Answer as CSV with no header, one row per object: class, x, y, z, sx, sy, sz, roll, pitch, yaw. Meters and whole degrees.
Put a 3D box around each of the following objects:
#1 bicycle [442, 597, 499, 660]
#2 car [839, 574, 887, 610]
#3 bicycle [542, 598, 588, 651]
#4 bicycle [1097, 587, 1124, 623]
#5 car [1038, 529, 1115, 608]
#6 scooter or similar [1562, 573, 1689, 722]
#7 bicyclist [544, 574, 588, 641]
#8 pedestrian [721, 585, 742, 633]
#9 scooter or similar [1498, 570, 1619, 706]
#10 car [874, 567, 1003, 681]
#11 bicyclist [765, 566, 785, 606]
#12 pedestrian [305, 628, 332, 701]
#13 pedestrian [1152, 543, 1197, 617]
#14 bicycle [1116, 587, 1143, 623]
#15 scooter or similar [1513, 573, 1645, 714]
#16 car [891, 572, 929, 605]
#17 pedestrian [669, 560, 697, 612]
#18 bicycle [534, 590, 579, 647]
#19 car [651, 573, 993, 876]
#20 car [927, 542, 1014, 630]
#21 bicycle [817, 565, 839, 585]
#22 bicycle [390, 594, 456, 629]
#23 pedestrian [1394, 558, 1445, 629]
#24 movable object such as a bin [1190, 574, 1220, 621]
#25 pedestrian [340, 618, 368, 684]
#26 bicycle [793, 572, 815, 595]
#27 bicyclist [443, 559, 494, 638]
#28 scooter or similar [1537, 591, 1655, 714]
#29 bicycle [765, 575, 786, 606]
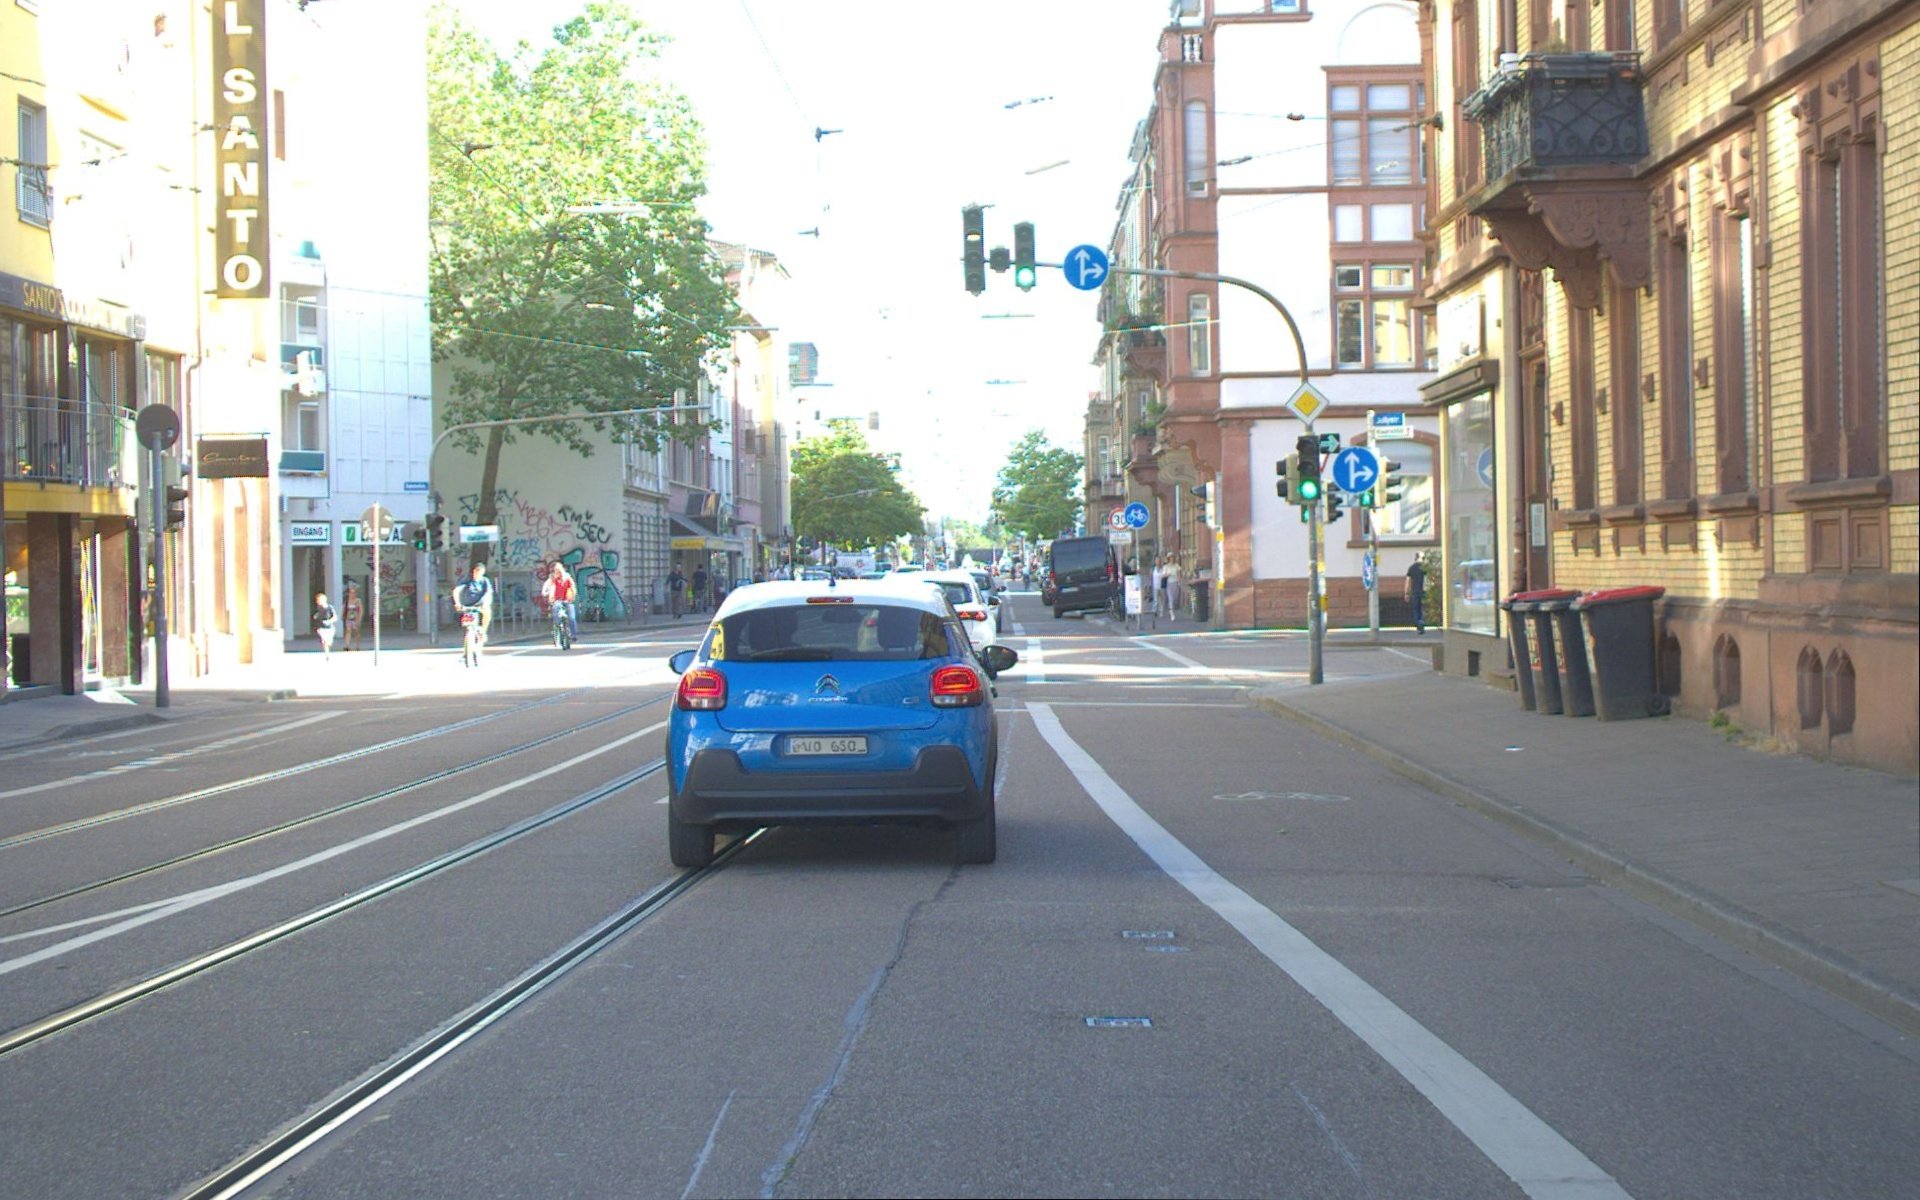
bicycle,-8.768,0.504,61.670,0.730,1.084,2.062,-1,1,-1
car,-4.251,-0.375,151.000,1.985,1.497,4.308,-1,1,0
bicycle,-8.200,0.506,71.441,0.730,1.062,2.062,-1,0,-1
bicycle,3.972,0.125,90.855,0.431,0.944,1.764,-1,1,-7
car,3.730,-1.020,111.085,2.271,2.428,5.720,-1,0,0
scooter or similar,5.486,0.385,28.377,0.790,1.144,0.790,-5,0,-1
bicyclist,-8.180,0.152,71.378,0.735,1.376,1.469,-1,0,-1
pedestrian,-8.577,0.339,128.898,0.710,1.758,0.570,-2,0,0
scooter or similar,5.406,0.336,31.080,0.897,1.144,0.547,-5,0,-1
car,-0.302,0.297,47.650,1.667,1.473,4.000,-2,0,0
bicyclist,-6.910,-0.516,128.606,0.682,1.478,0.778,-1,0,0
pedestrian,-12.527,1.250,67.132,0.404,1.405,0.516,-1,0,-1
pedestrian,5.500,-0.526,88.309,0.705,1.775,0.673,-13,0,0
bicycle,4.480,0.124,90.891,0.431,0.944,1.764,-1,1,-7
scooter or similar,5.409,0.374,30.073,0.933,1.144,0.650,-5,0,-1
car,-2.751,-0.658,189.839,1.993,1.738,4.563,-1,0,-1
pedestrian,-9.390,-0.468,116.658,0.682,1.759,1.025,-1,0,11
bicycle,-8.703,0.385,74.148,0.730,1.179,2.062,-1,0,-1
car,-0.690,0.601,19.054,1.674,1.472,4.000,-1,1,0
car,0.232,-0.348,82.517,1.993,2.007,4.000,-2,0,0
bicycle,-7.783,-1.448,202.942,1.120,1.142,3.645,-2,0,-5
bicycle,-16.202,0.357,103.720,1.918,1.031,0.664,-1,0,27
pedestrian,9.546,-0.137,71.433,0.938,1.452,0.822,-1,0,15
movable object such as a bin,6.059,-0.058,85.090,0.666,1.150,0.594,-1,0,-2
pedestrian,-14.370,1.211,81.515,0.542,1.547,0.516,-1,0,-1
bicycle,-9.247,-0.964,203.137,1.120,1.315,3.645,-2,0,-5
bicyclist,-8.771,-0.034,61.375,0.724,1.376,1.228,-1,1,-1
scooter or similar,5.410,0.441,29.280,0.790,0.954,0.680,-5,0,-1
bicycle,-6.905,-0.365,128.762,0.692,1.116,2.084,-1,1,0
